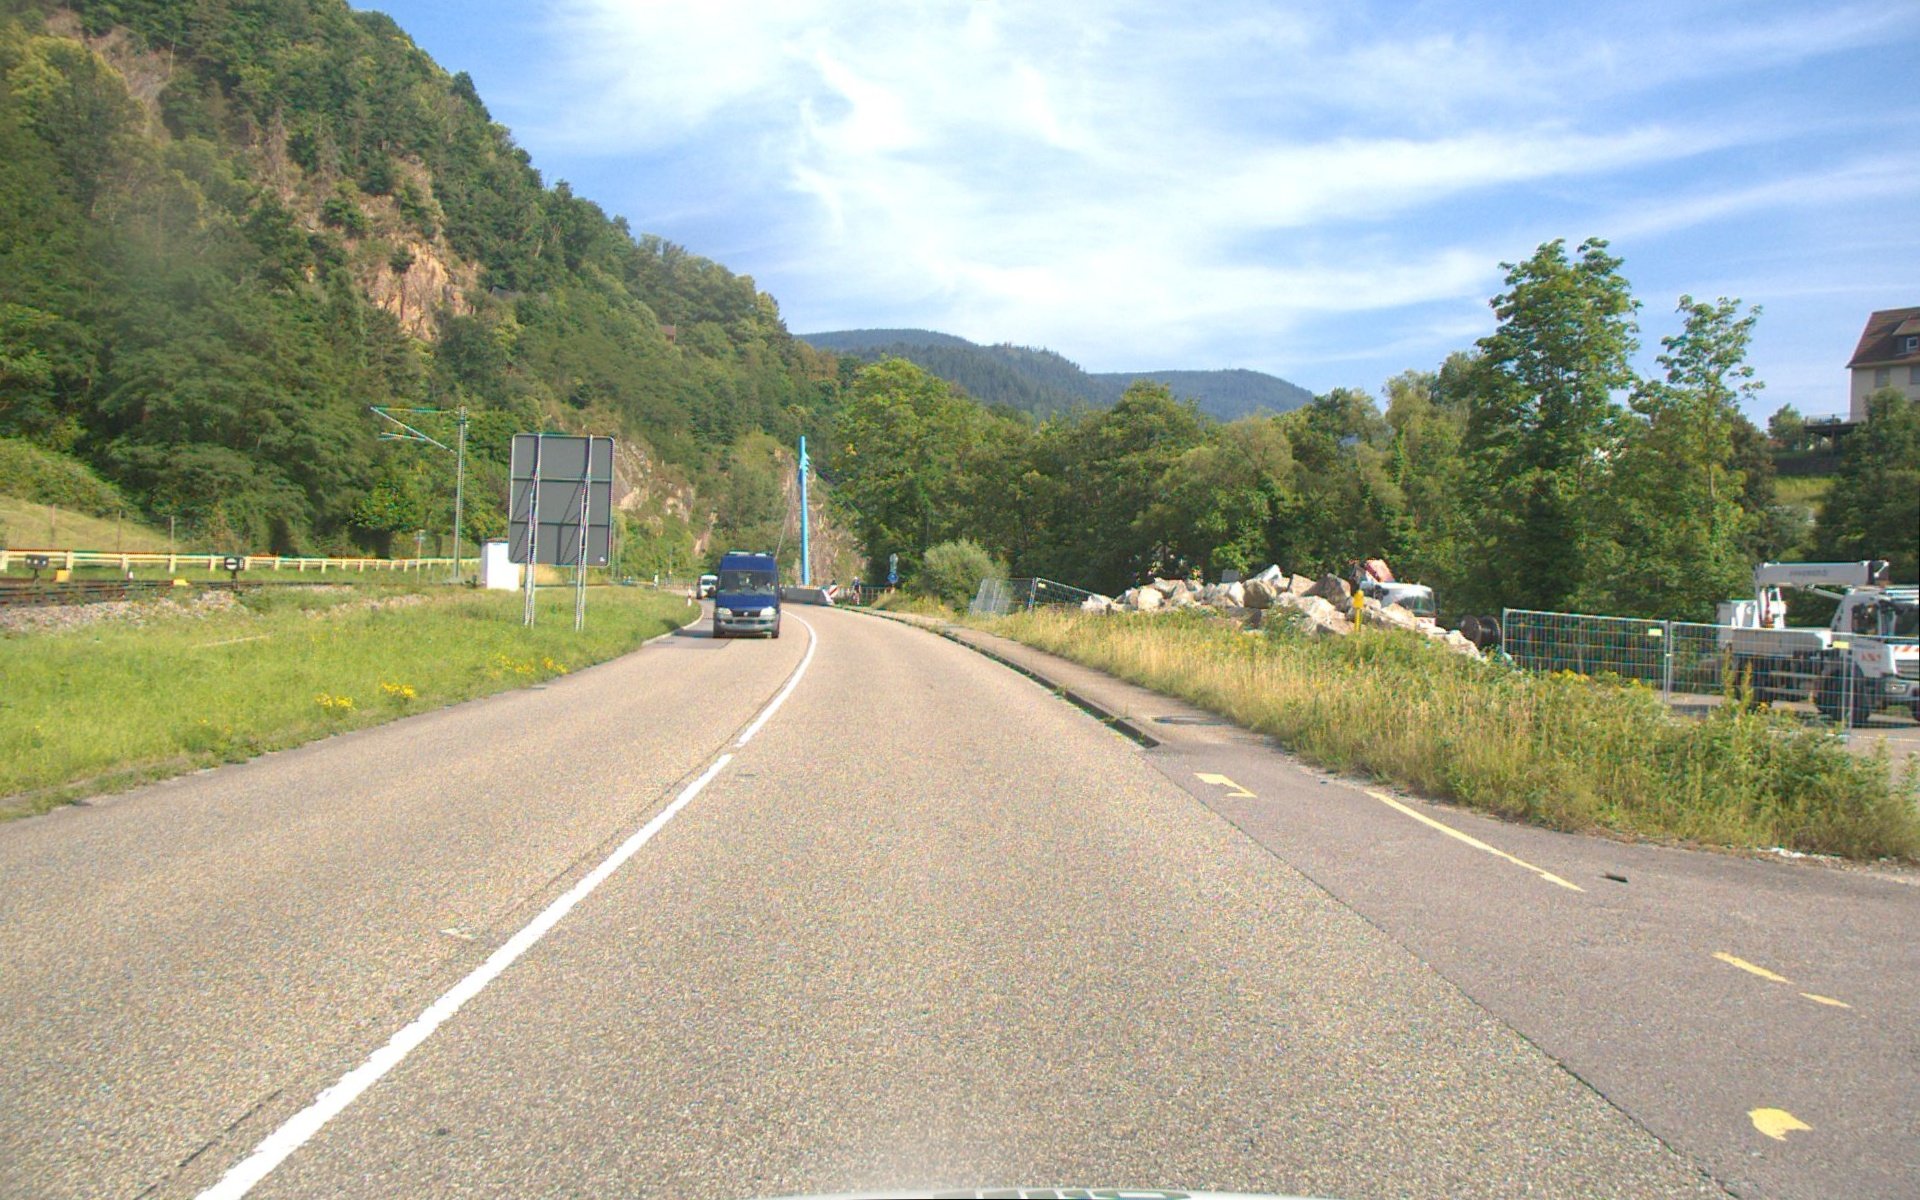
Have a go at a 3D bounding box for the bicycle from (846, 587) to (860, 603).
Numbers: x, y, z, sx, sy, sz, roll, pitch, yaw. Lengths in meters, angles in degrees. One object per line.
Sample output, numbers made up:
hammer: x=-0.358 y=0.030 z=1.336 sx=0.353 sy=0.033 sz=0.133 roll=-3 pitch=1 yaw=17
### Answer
bicycle: x=-6.819 y=-0.317 z=104.934 sx=0.636 sy=0.958 sz=1.844 roll=4 pitch=0 yaw=-10

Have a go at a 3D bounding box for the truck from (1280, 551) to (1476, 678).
truck: x=14.087 y=0.417 z=56.596 sx=3.047 sy=3.847 sz=8.623 roll=3 pitch=0 yaw=-10

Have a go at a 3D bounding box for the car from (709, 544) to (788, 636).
car: x=-6.369 y=-0.322 z=50.362 sx=2.085 sy=2.661 sz=5.475 roll=0 pitch=1 yaw=-4

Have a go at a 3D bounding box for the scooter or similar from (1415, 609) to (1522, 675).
scooter or similar: x=17.093 y=1.384 z=55.805 sx=1.956 sy=2.049 sz=3.994 roll=1 pitch=0 yaw=-7

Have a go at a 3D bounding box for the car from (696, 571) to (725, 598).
car: x=-18.860 y=-1.184 z=125.030 sx=1.837 sy=1.812 sz=4.586 roll=2 pitch=1 yaw=-12

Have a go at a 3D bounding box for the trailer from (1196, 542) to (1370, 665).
trailer: x=12.583 y=0.129 z=65.707 sx=3.304 sy=4.349 sz=9.885 roll=3 pitch=-1 yaw=-10

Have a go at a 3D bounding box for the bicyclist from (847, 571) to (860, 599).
bicyclist: x=-6.757 y=-0.957 z=104.837 sx=0.629 sy=1.683 sz=0.807 roll=4 pitch=0 yaw=-10

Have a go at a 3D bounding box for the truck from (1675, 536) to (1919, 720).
truck: x=20.713 y=0.627 z=39.652 sx=3.041 sy=3.847 sz=8.642 roll=3 pitch=0 yaw=-2
